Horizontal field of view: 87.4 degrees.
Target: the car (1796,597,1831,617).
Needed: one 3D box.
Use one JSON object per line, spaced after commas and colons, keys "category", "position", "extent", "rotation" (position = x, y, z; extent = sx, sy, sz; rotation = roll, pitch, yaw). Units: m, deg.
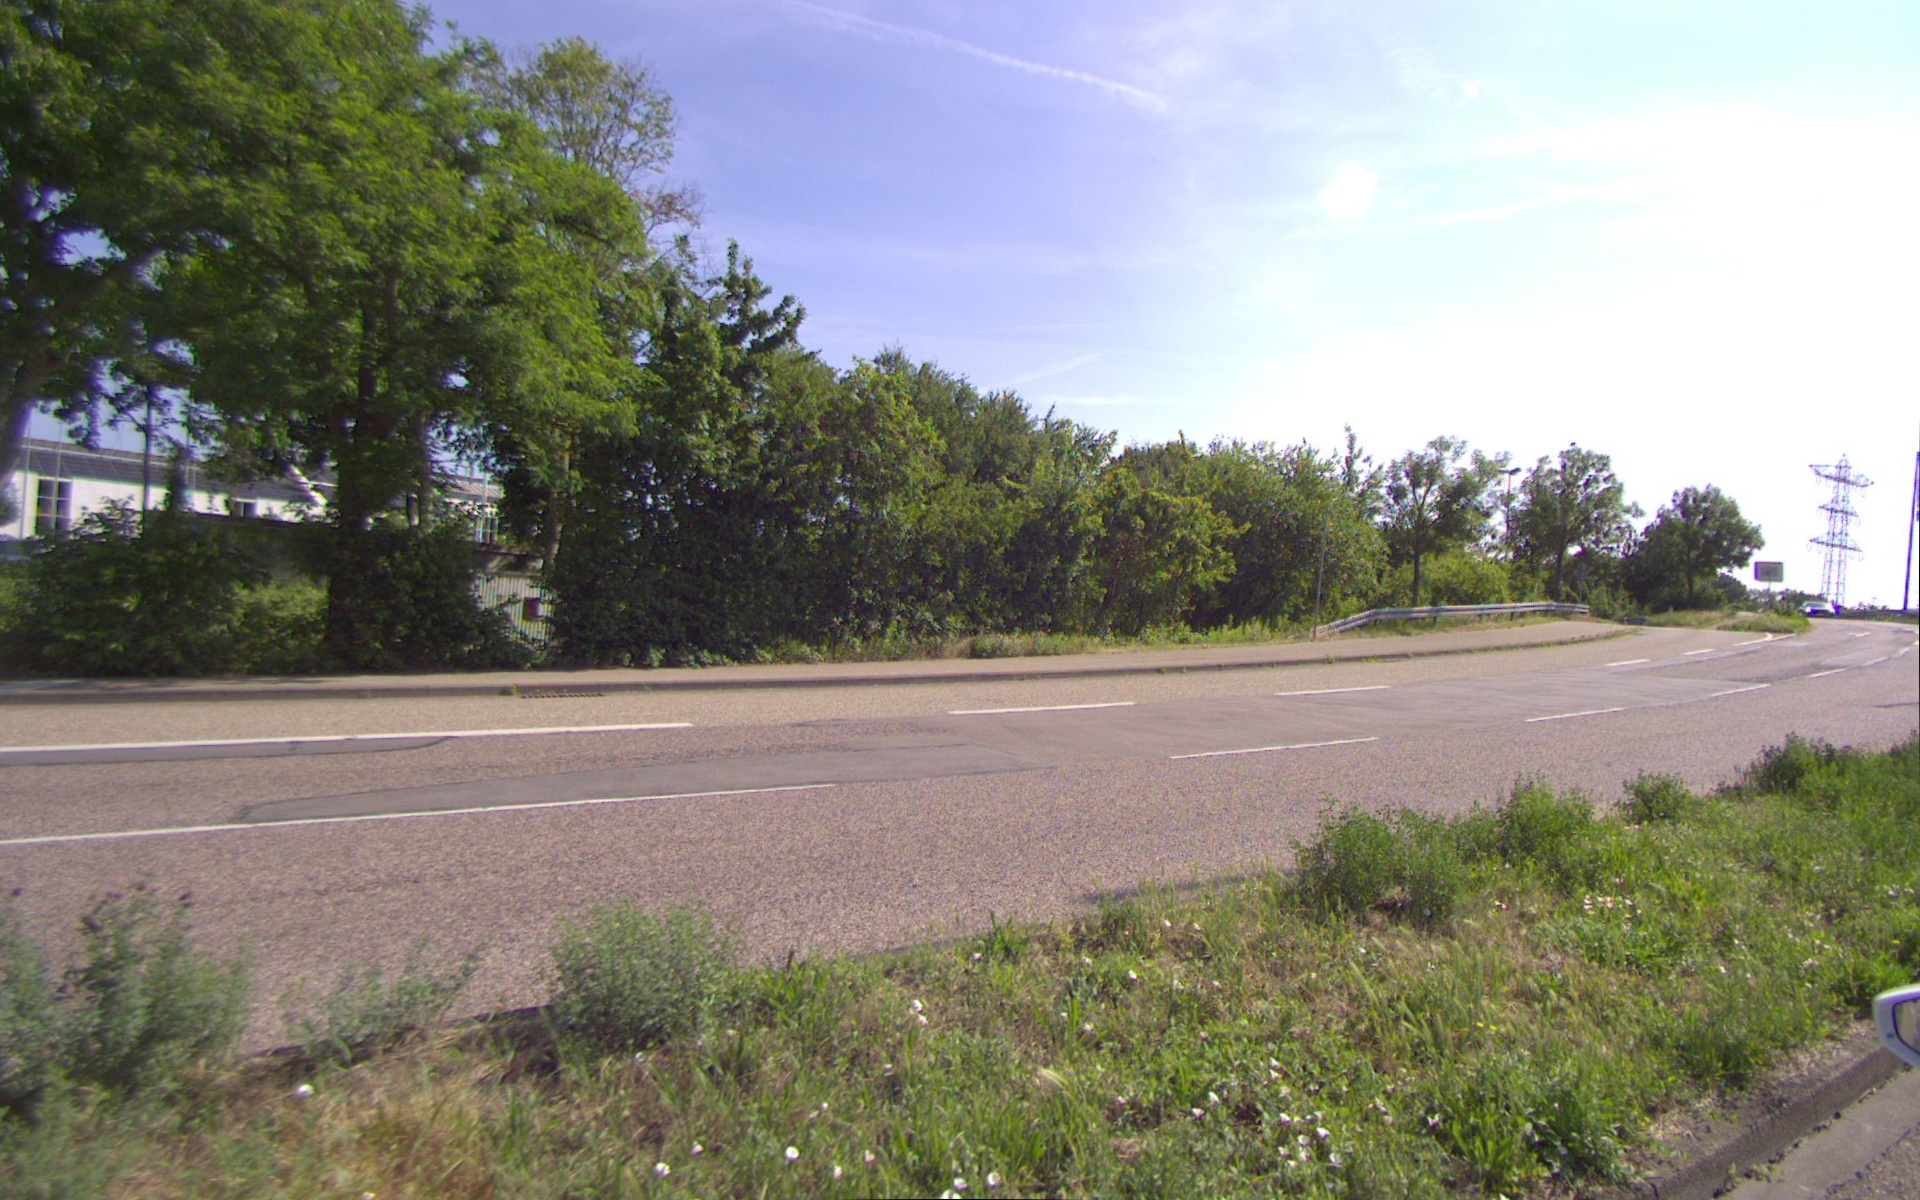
{"category": "car", "position": [67.996, 0.557, 80.084], "extent": [1.760, 1.505, 4.245], "rotation": [0, 1, 35]}
